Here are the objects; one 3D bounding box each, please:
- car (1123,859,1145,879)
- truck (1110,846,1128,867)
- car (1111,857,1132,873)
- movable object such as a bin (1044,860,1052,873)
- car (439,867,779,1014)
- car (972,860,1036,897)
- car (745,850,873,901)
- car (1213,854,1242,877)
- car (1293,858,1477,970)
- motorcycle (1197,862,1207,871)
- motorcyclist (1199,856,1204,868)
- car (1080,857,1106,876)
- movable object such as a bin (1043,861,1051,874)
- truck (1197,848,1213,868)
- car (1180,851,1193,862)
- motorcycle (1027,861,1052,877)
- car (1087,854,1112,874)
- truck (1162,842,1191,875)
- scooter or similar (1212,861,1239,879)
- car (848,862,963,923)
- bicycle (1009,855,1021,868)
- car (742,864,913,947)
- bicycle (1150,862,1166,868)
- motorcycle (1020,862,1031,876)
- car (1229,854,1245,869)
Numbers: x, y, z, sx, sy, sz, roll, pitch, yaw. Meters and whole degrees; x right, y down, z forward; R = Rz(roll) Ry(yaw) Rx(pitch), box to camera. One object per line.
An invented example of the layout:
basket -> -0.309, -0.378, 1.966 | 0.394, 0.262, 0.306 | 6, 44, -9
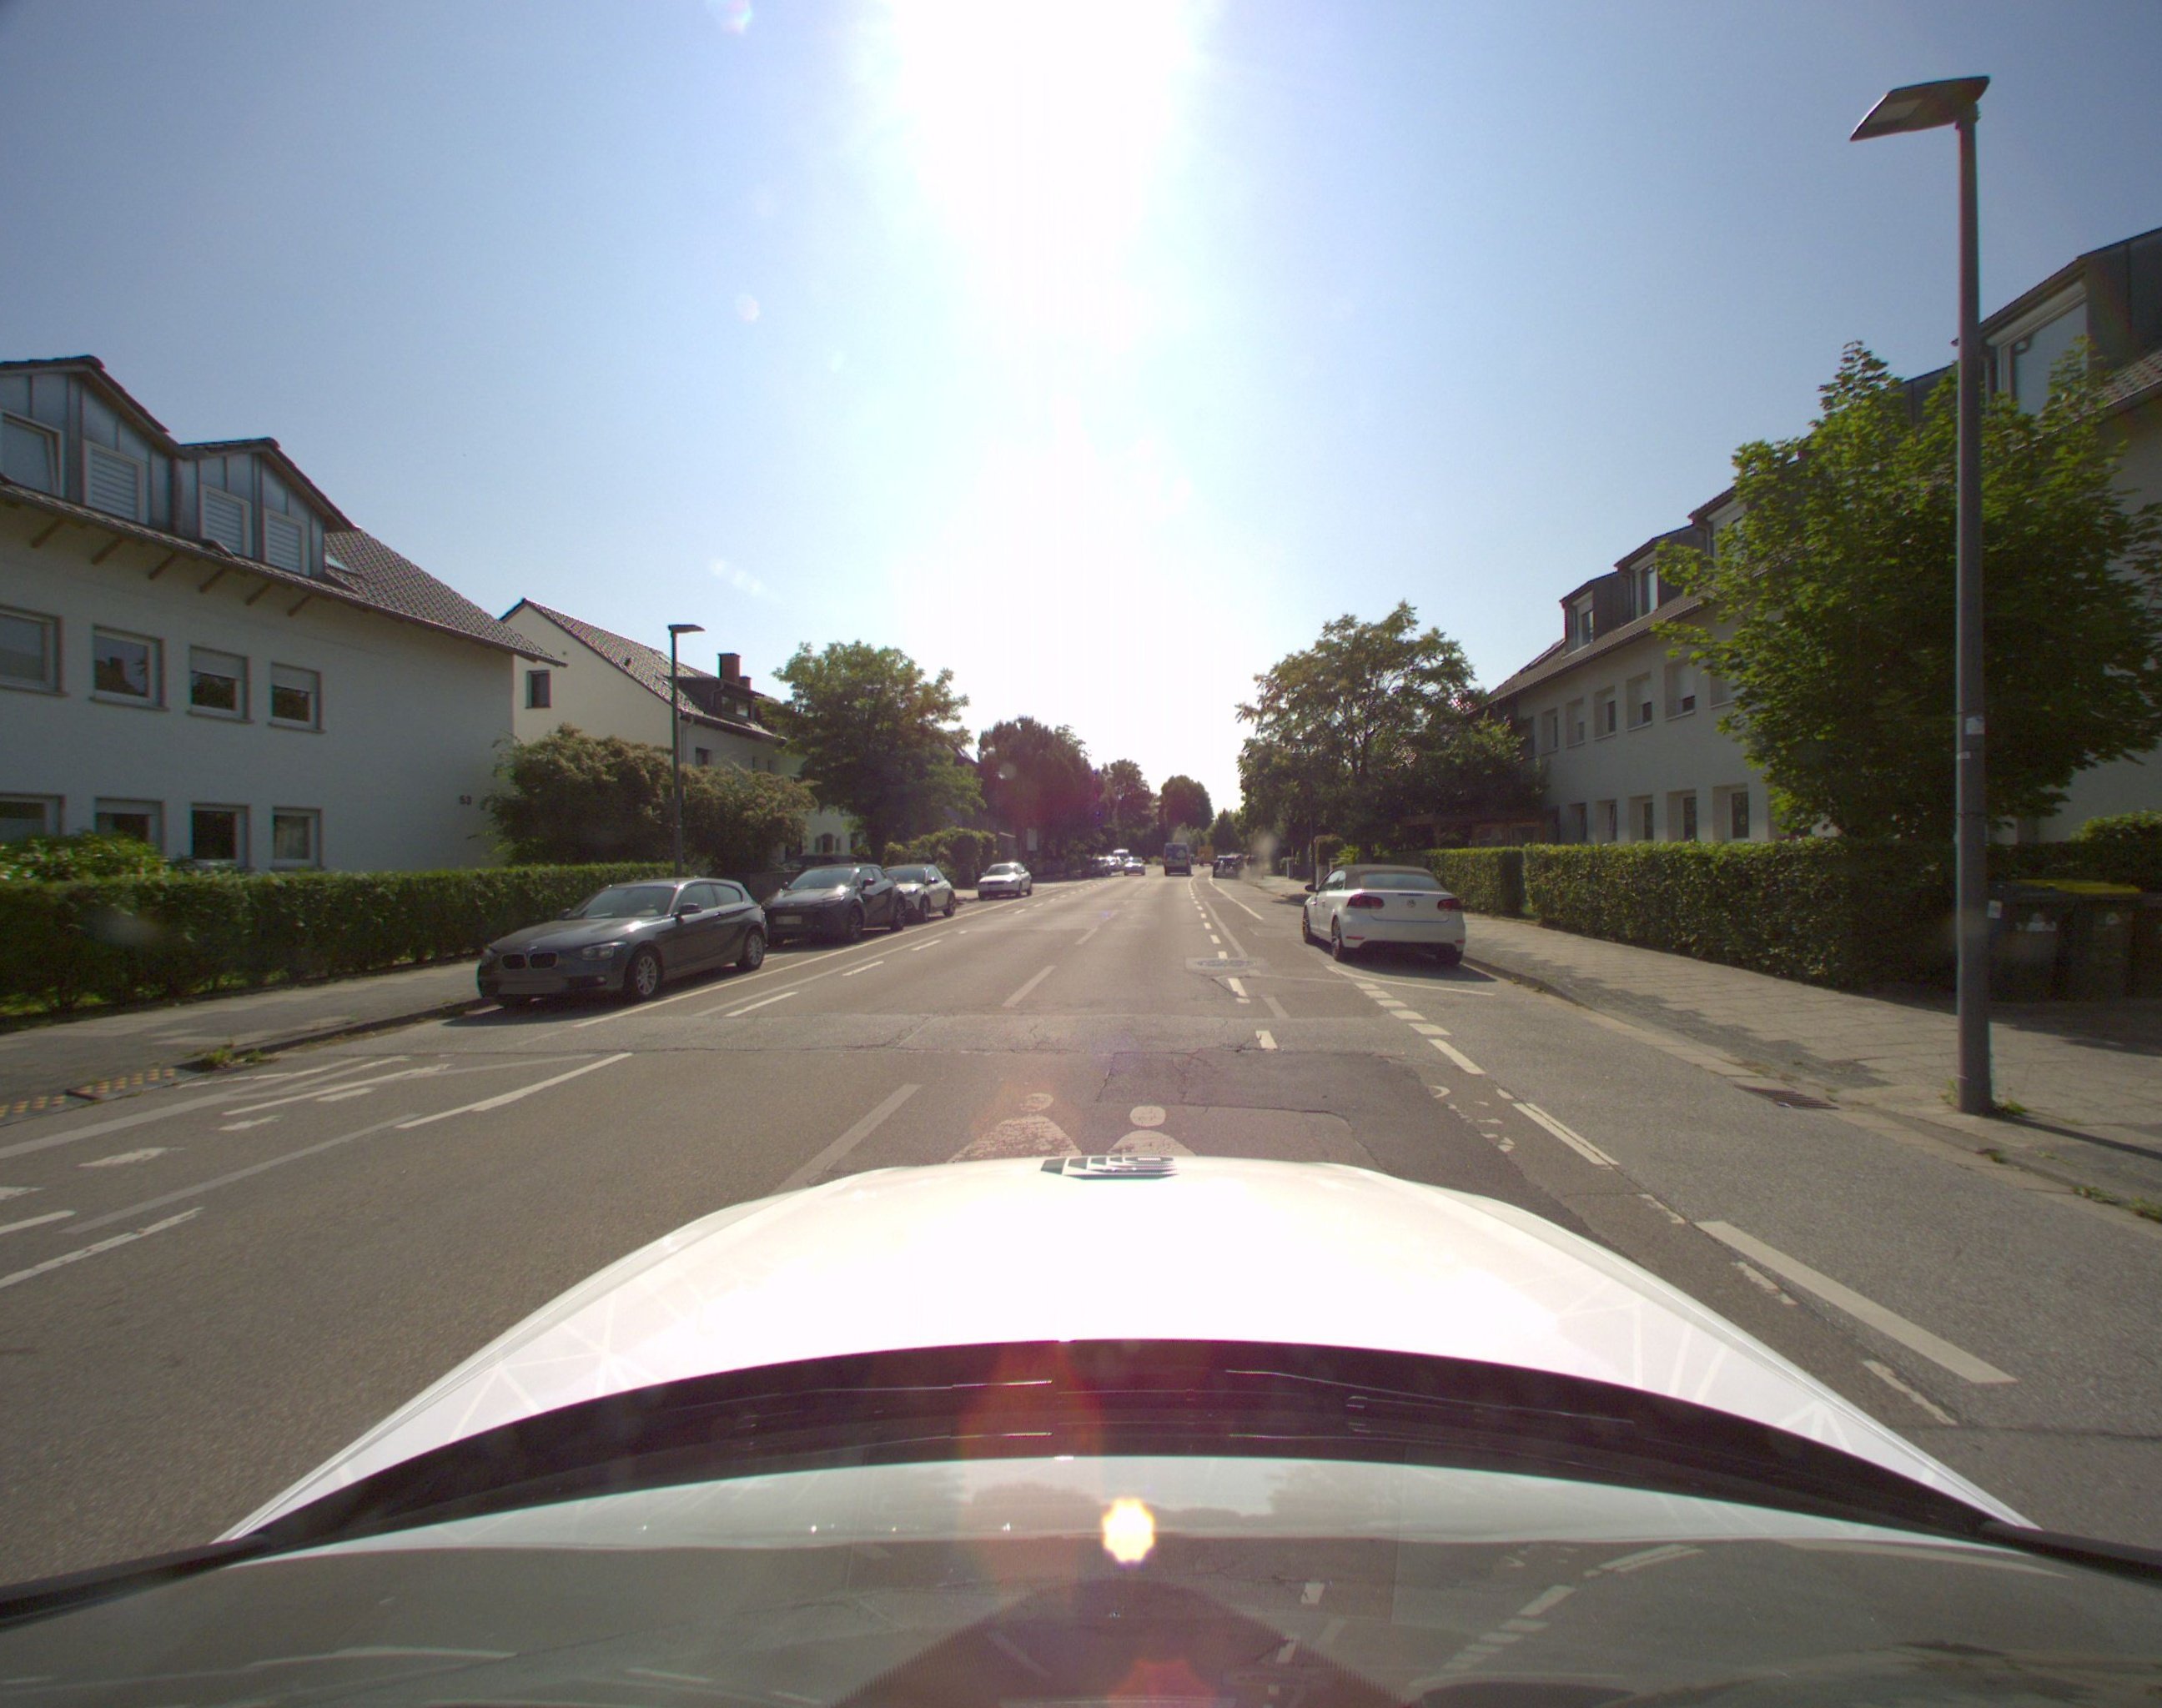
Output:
car -> 4.553, 1.279, 69.739 | 1.723, 1.541, 4.006 | -2, -1, 5
truck -> 4.835, 0.269, 103.379 | 2.071, 2.537, 5.473 | -1, 0, 4
car -> 4.259, 1.140, 84.929 | 1.824, 1.595, 3.783 | -1, -1, 8
movable object such as a bin -> -2.852, 1.119, 70.873 | 0.540, 1.111, 0.587 | -1, -1, 12
car -> -5.824, 0.962, 10.769 | 1.777, 1.440, 4.160 | -3, 0, 4
car -> -3.124, 0.983, 33.952 | 1.775, 1.440, 4.008 | -1, 0, 7
car -> -10.011, 0.769, 30.109 | 3.965, 1.759, 2.004 | -1, 0, 7
car -> 10.930, 0.830, 60.596 | 1.772, 1.638, 4.487 | 1, 0, 14
car -> 4.595, 0.809, 12.929 | 1.731, 1.402, 4.080 | 2, 0, 6
motorcycle -> 14.925, 1.531, 100.590 | 1.051, 1.122, 2.998 | -1, -1, 7
motorcyclist -> 14.847, 1.014, 100.374 | 0.668, 1.519, 0.654 | -1, -1, 8
car -> 1.034, 1.034, 68.087 | 1.772, 1.460, 4.093 | -3, 0, 6
movable object such as a bin -> -2.961, 1.130, 70.241 | 0.540, 1.111, 0.520 | -1, -1, 12
truck -> 18.429, 0.577, 121.530 | 2.202, 2.946, 5.698 | -1, -1, 7
car -> 17.093, 0.447, 131.660 | 1.982, 1.657, 4.615 | -1, 0, 8
motorcycle -> -3.290, 1.187, 63.958 | 1.827, 1.182, 0.645 | -1, -1, 12
car -> 1.706, 0.891, 73.965 | 1.900, 1.677, 4.264 | -3, 0, 5
truck -> 7.907, 0.362, 67.377 | 2.260, 2.571, 4.401 | -1, -1, 7
scooter or similar -> 10.259, 1.141, 57.858 | 0.723, 1.154, 1.777 | 3, 0, -38
car -> -4.607, 0.970, 21.978 | 1.775, 1.440, 4.008 | 0, 0, 7
bicycle -> -6.071, 0.687, 74.749 | 0.532, 1.181, 1.454 | -1, 1, 20
car -> -5.102, 0.970, 17.044 | 1.775, 1.440, 4.119 | -2, 0, 8
bicycle -> 13.124, 1.867, 139.147 | 2.680, 1.047, 1.025 | -1, -1, -2
motorcycle -> -4.743, 1.299, 69.623 | 0.533, 1.182, 1.451 | -1, -1, 12
car -> 17.986, 0.839, 94.156 | 1.690, 1.677, 3.785 | -1, 0, 10
